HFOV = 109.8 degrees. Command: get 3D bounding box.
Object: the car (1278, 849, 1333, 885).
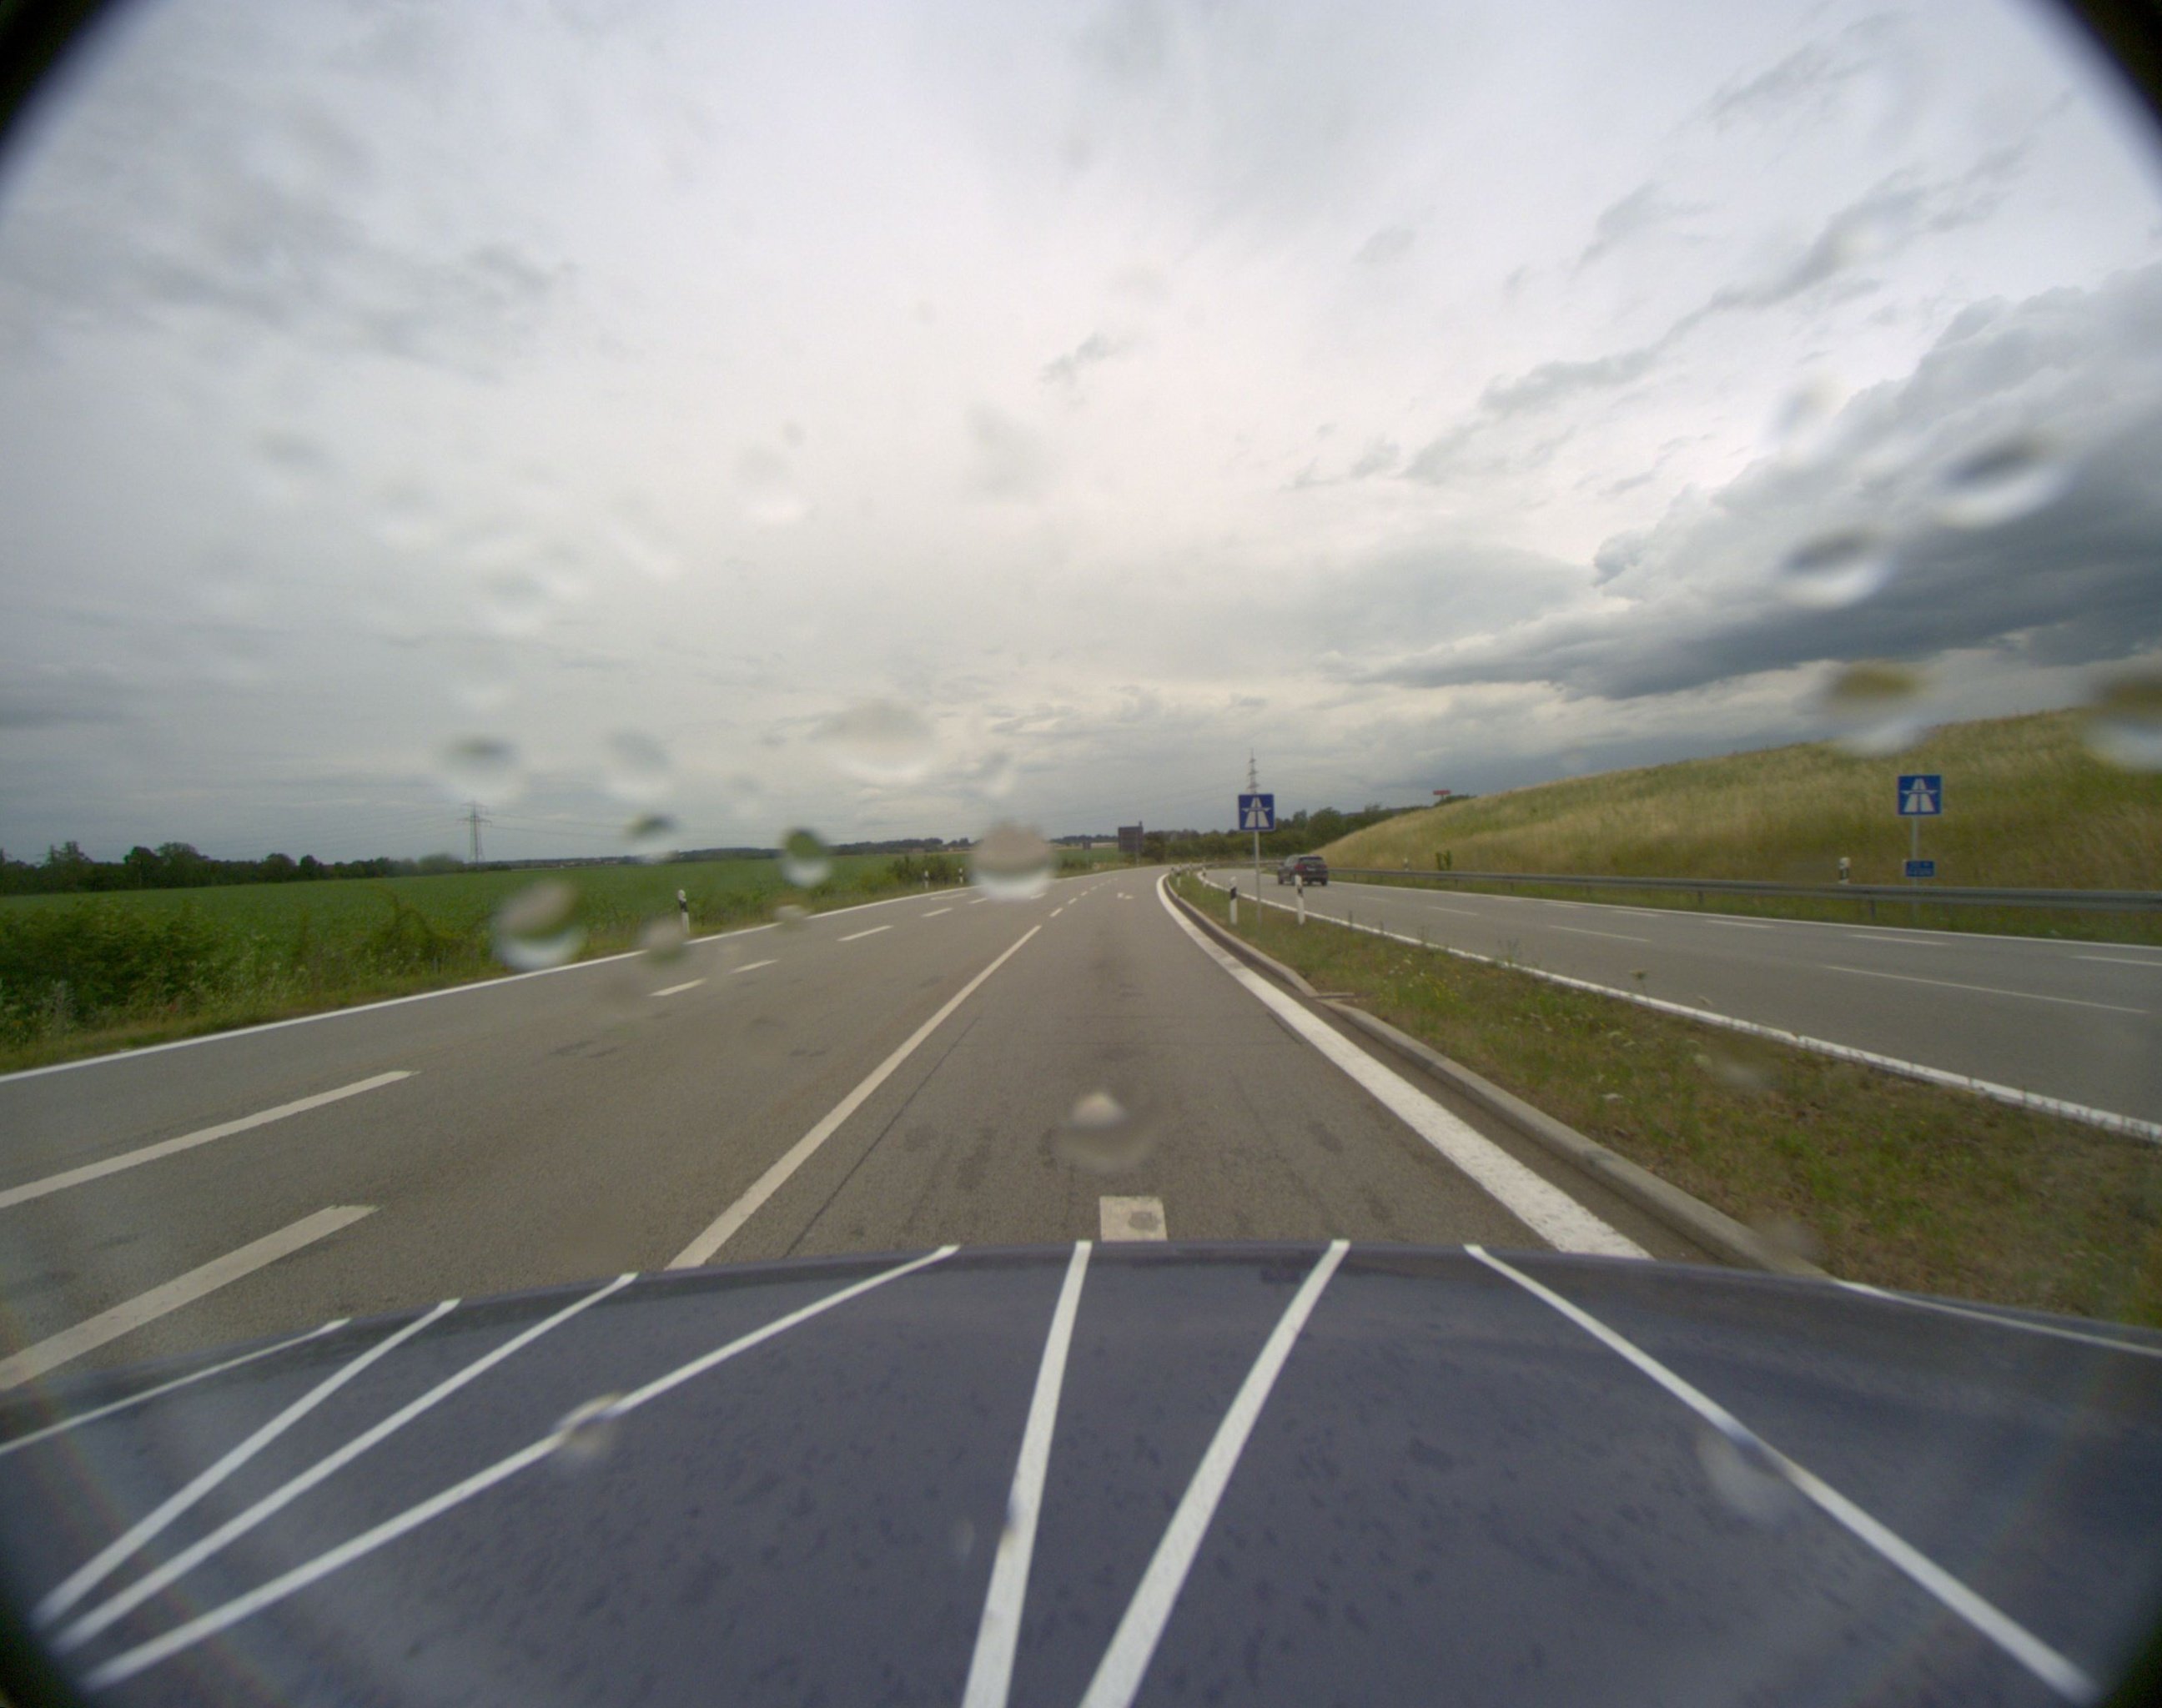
[{"bbox_3d":[11.657,0.655,39.767,1.998,1.674,4.115,-2,1,6],"label":"car"}]
